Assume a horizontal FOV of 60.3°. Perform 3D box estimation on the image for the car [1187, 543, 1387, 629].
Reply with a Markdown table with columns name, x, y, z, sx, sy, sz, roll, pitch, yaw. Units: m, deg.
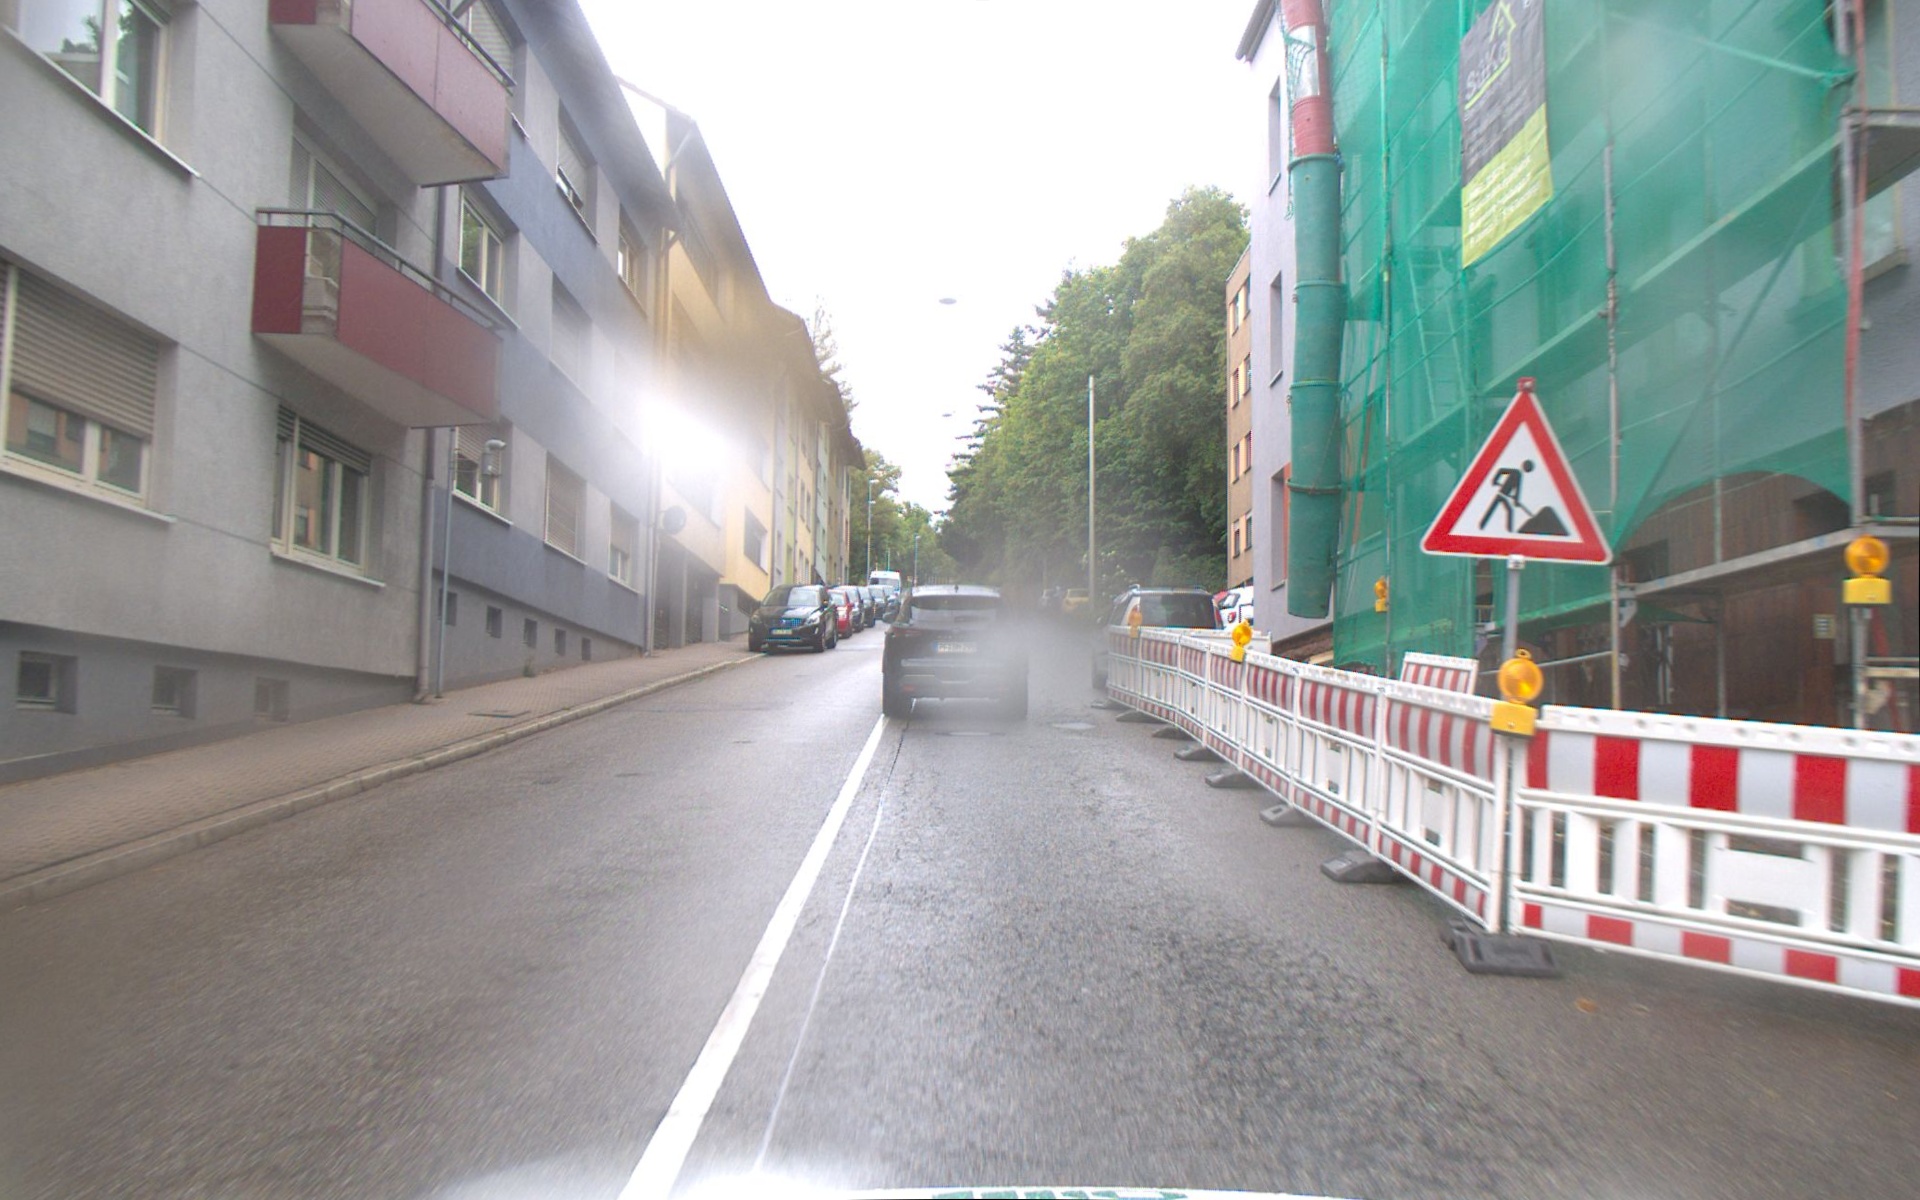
| name | x | y | z | sx | sy | sz | roll | pitch | yaw |
| --- | --- | --- | --- | --- | --- | --- | --- | --- | --- |
| car | 7.763 | -0.342 | 39.491 | 4.256 | 1.556 | 1.876 | -6 | 1 | -2 |

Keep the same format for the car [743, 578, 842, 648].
| name | x | y | z | sx | sy | sz | roll | pitch | yaw |
| --- | --- | --- | --- | --- | --- | --- | --- | --- | --- |
| car | -4.219 | 0.284 | 42.390 | 1.952 | 1.679 | 4.443 | 1 | 1 | 2 |

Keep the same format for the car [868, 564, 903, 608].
| name | x | y | z | sx | sy | sz | roll | pitch | yaw |
| --- | --- | --- | --- | --- | --- | --- | --- | --- | --- |
| car | -4.375 | -0.836 | 97.705 | 1.950 | 2.518 | 5.783 | 1 | 1 | -2 |

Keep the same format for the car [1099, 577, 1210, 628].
| name | x | y | z | sx | sy | sz | roll | pitch | yaw |
| --- | --- | --- | --- | --- | --- | --- | --- | --- | --- |
| car | 7.843 | 0.095 | 67.003 | 4.116 | 1.764 | 1.758 | 4 | 0 | -5 |

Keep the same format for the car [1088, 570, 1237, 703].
| name | x | y | z | sx | sy | sz | roll | pitch | yaw |
| --- | --- | --- | --- | --- | --- | --- | --- | --- | --- |
| car | 2.994 | 0.478 | 25.207 | 1.607 | 1.793 | 3.999 | 2 | 1 | -2 |

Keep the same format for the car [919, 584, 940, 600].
| name | x | y | z | sx | sy | sz | roll | pitch | yaw |
| --- | --- | --- | --- | --- | --- | --- | --- | --- | --- |
| car | -3.209 | -0.843 | 172.229 | 2.033 | 1.586 | 3.999 | 1 | 0 | -2 |

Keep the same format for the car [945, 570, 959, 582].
| name | x | y | z | sx | sy | sz | roll | pitch | yaw |
| --- | --- | --- | --- | --- | --- | --- | --- | --- | --- |
| car | -1.193 | -3.544 | 242.318 | 1.952 | 1.587 | 4.000 | 0 | -1 | 1 |

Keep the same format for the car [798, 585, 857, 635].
| name | x | y | z | sx | sy | sz | roll | pitch | yaw |
| --- | --- | --- | --- | --- | --- | --- | --- | --- | --- |
| car | -4.217 | 0.302 | 52.889 | 1.693 | 1.498 | 3.490 | 1 | 1 | -2 |

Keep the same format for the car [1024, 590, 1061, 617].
| name | x | y | z | sx | sy | sz | roll | pitch | yaw |
| --- | --- | --- | --- | --- | --- | --- | --- | --- | --- |
| car | 4.979 | 0.215 | 99.988 | 1.775 | 1.557 | 4.415 | -1 | 0 | -3 |

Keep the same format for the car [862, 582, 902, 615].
| name | x | y | z | sx | sy | sz | roll | pitch | yaw |
| --- | --- | --- | --- | --- | --- | --- | --- | --- | --- |
| car | -3.977 | -0.102 | 84.627 | 1.950 | 1.613 | 4.304 | 1 | 1 | -2 |

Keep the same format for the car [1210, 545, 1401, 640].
| name | x | y | z | sx | sy | sz | roll | pitch | yaw |
| --- | --- | --- | --- | --- | --- | --- | --- | --- | --- |
| car | 7.659 | -0.179 | 36.872 | 3.750 | 1.731 | 1.728 | -5 | 1 | -2 |

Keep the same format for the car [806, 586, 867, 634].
| name | x | y | z | sx | sy | sz | roll | pitch | yaw |
| --- | --- | --- | --- | --- | --- | --- | --- | --- | --- |
| car | -4.403 | 0.319 | 59.581 | 1.953 | 1.613 | 4.470 | 1 | 1 | -2 |

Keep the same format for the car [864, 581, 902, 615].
| name | x | y | z | sx | sy | sz | roll | pitch | yaw |
| --- | --- | --- | --- | --- | --- | --- | --- | --- | --- |
| car | -4.191 | -0.126 | 90.346 | 1.950 | 1.786 | 4.479 | 1 | 1 | -2 |

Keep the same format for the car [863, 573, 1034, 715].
| name | x | y | z | sx | sy | sz | roll | pitch | yaw |
| --- | --- | --- | --- | --- | --- | --- | --- | --- | --- |
| car | -0.153 | 0.489 | 21.448 | 1.953 | 1.586 | 4.000 | 2 | 1 | -1 |

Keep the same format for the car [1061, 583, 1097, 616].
| name | x | y | z | sx | sy | sz | roll | pitch | yaw |
| --- | --- | --- | --- | --- | --- | --- | --- | --- | --- |
| car | 5.898 | -0.034 | 82.394 | 1.599 | 1.556 | 4.001 | 2 | 0 | 2 |

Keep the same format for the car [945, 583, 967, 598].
| name | x | y | z | sx | sy | sz | roll | pitch | yaw |
| --- | --- | --- | --- | --- | --- | --- | --- | --- | --- |
| car | -0.472 | -1.005 | 176.153 | 2.033 | 1.586 | 3.997 | 1 | 0 | -4 |

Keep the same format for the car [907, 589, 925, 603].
| name | x | y | z | sx | sy | sz | roll | pitch | yaw |
| --- | --- | --- | --- | --- | --- | --- | --- | --- | --- |
| car | -5.270 | -0.515 | 197.407 | 2.033 | 1.586 | 3.999 | 1 | 0 | -2 |

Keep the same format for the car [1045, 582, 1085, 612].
| name | x | y | z | sx | sy | sz | roll | pitch | yaw |
| --- | --- | --- | --- | --- | --- | --- | --- | --- | --- |
| car | 5.652 | -0.178 | 89.355 | 1.774 | 1.556 | 4.416 | -1 | 0 | -1 |

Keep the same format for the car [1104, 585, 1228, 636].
| name | x | y | z | sx | sy | sz | roll | pitch | yaw |
| --- | --- | --- | --- | --- | --- | --- | --- | --- | --- |
| car | 7.340 | 0.371 | 59.167 | 4.114 | 1.522 | 1.759 | 4 | 0 | -3 |

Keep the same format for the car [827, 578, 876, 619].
| name | x | y | z | sx | sy | sz | roll | pitch | yaw |
| --- | --- | --- | --- | --- | --- | --- | --- | --- | --- |
| car | -4.366 | -0.084 | 66.872 | 1.816 | 1.613 | 4.304 | 1 | 1 | -2 |
